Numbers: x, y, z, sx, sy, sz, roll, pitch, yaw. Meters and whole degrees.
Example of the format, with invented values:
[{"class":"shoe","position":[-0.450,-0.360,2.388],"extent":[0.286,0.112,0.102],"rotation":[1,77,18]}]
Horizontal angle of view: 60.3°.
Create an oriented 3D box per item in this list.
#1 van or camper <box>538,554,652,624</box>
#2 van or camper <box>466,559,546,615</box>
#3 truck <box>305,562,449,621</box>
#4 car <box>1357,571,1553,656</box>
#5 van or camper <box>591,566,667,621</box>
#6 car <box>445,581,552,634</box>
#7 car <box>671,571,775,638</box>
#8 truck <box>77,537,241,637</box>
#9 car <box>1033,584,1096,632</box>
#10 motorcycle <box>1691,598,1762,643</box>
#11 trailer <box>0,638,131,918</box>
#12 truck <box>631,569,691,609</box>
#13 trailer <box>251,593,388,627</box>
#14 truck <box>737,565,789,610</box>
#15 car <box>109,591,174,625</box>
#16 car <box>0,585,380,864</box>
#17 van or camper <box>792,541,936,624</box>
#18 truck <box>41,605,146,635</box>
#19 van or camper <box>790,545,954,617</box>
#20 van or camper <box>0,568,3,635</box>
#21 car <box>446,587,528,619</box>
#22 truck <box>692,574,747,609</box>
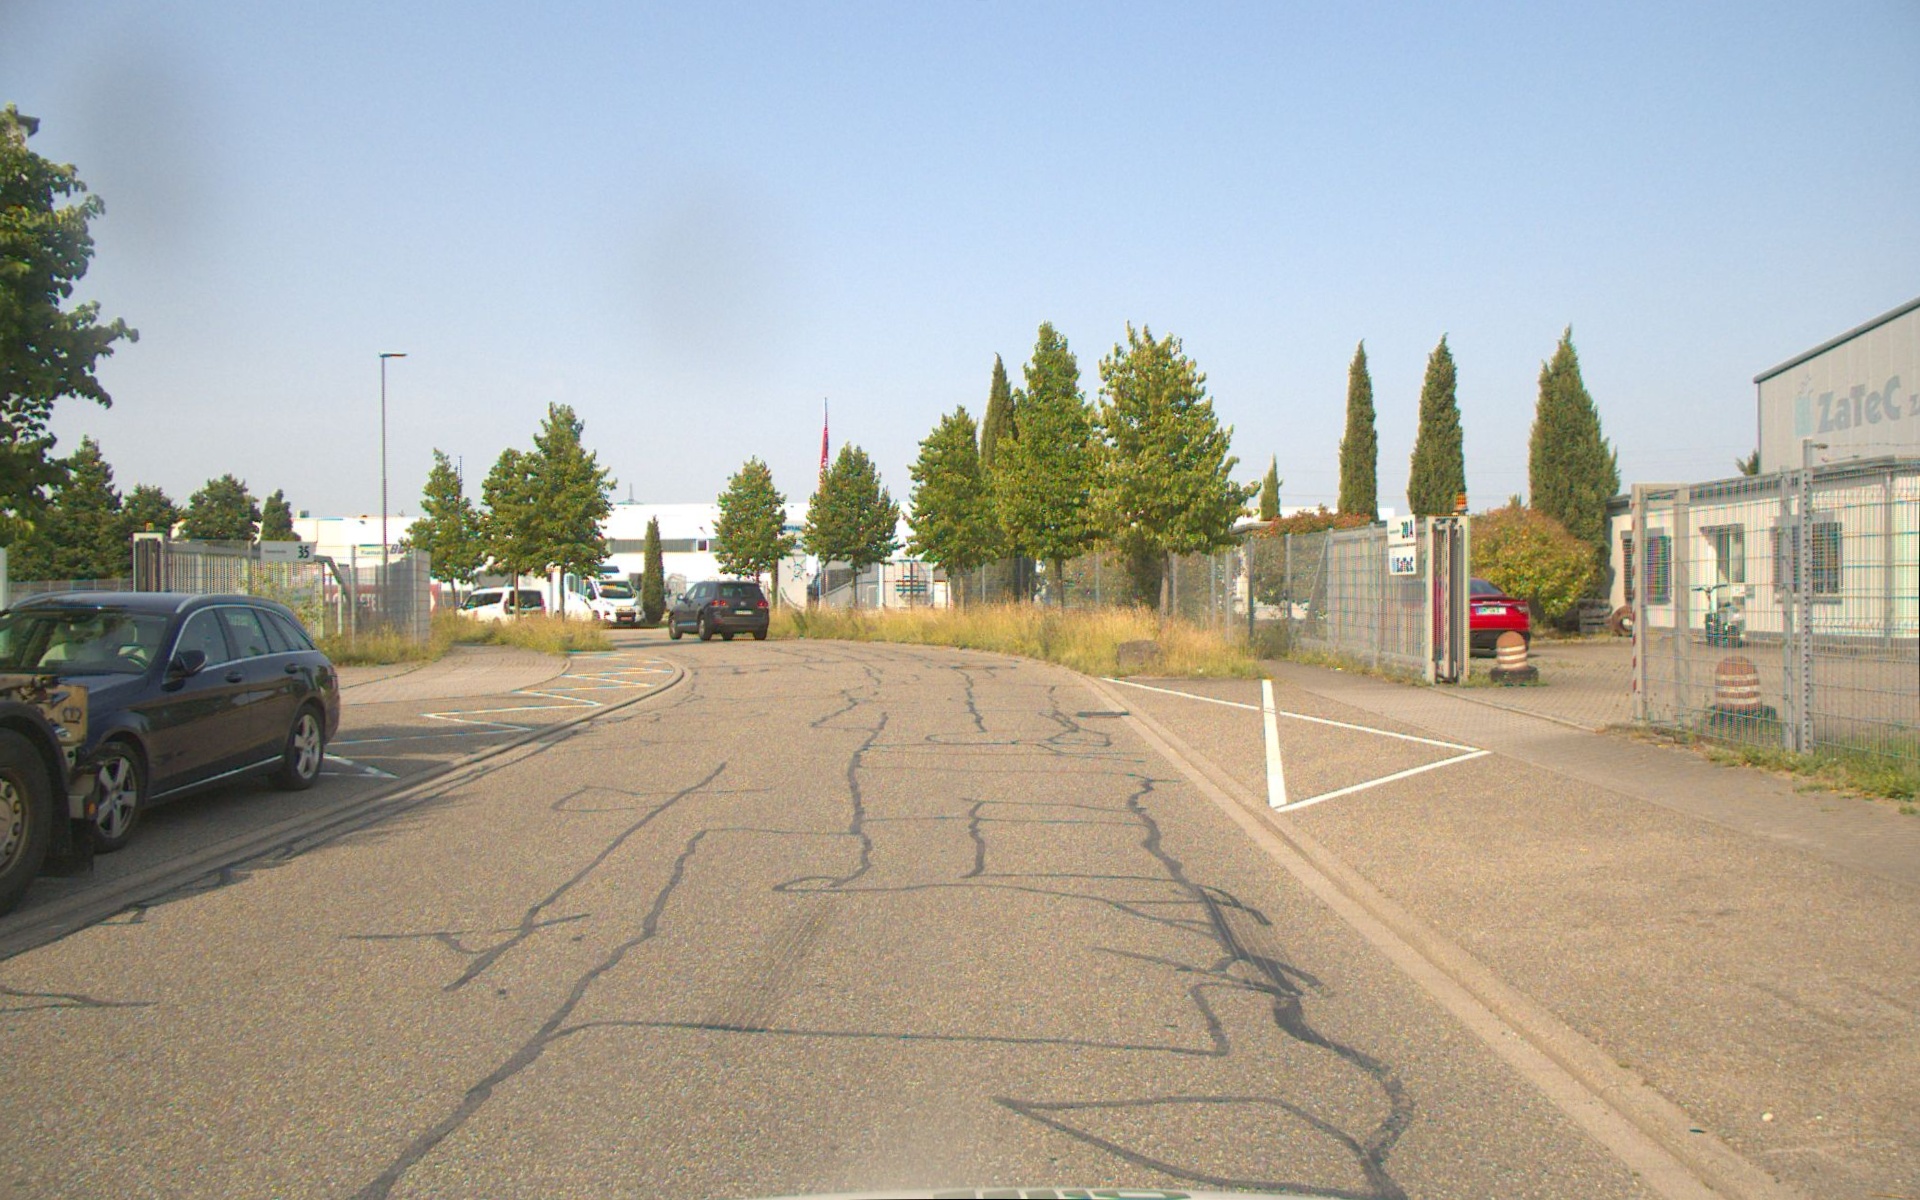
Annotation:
[{"class":"van or camper","position":[-16.413,-0.472,74.057],"extent":[2.314,2.995,6.878],"rotation":[-1,0,-37]},{"class":"van or camper","position":[-26.439,-0.774,96.596],"extent":[2.607,3.138,6.797],"rotation":[0,1,2]},{"class":"truck","position":[-40.532,-0.613,115.258],"extent":[9.098,4.042,2.457],"rotation":[0,0,-3]},{"class":"car","position":[8.760,0.208,29.739],"extent":[1.843,1.381,4.770],"rotation":[-1,0,-3]},{"class":"van or camper","position":[-16.296,-0.335,81.901],"extent":[2.432,2.603,6.626],"rotation":[0,1,0]},{"class":"car","position":[-17.472,0.267,62.498],"extent":[4.393,1.932,1.986],"rotation":[0,0,45]},{"class":"car","position":[-6.868,0.148,47.634],"extent":[1.968,1.836,3.969],"rotation":[1,0,-24]},{"class":"truck","position":[-34.685,-0.480,71.255],"extent":[2.614,3.998,12.709],"rotation":[0,0,-44]},{"class":"car","position":[3.795,0.250,60.608],"extent":[1.689,1.672,3.996],"rotation":[1,0,-5]},{"class":"motorcycle","position":[13.856,0.363,29.950],"extent":[0.523,0.764,1.583],"rotation":[-2,0,0]},{"class":"trailer","position":[-5.525,0.877,5.338],"extent":[2.086,1.254,7.157],"rotation":[1,1,0]},{"class":"truck","position":[-19.655,-0.709,109.069],"extent":[2.400,2.514,8.003],"rotation":[0,0,1]},{"class":"trailer","position":[-31.126,0.474,80.079],"extent":[9.295,1.412,2.614],"rotation":[0,2,45]},{"class":"truck","position":[-13.253,-0.841,111.704],"extent":[2.400,2.876,8.003],"rotation":[0,0,1]},{"class":"car","position":[-43.933,0.435,88.748],"extent":[3.932,1.803,1.986],"rotation":[-1,0,44]},{"class":"car","position":[-5.792,0.672,11.411],"extent":[1.952,1.492,4.433],"rotation":[1,1,1]},{"class":"van or camper","position":[-3.698,-0.603,61.750],"extent":[2.325,2.897,7.265],"rotation":[0,0,-31]},{"class":"truck","position":[-40.413,0.883,77.078],"extent":[6.416,1.287,2.515],"rotation":[0,1,44]},{"class":"van or camper","position":[-3.943,-0.843,73.384],"extent":[7.119,3.085,2.582],"rotation":[-1,0,-6]},{"class":"van or camper","position":[-39.440,0.087,64.503],"extent":[4.864,2.605,2.299],"rotation":[-1,0,42]},{"class":"car","position":[-23.307,0.150,81.663],"extent":[2.119,1.502,4.003],"rotation":[-1,0,15]},{"class":"truck","position":[-16.176,-0.576,111.745],"extent":[2.400,2.304,8.003],"rotation":[0,0,1]}]
